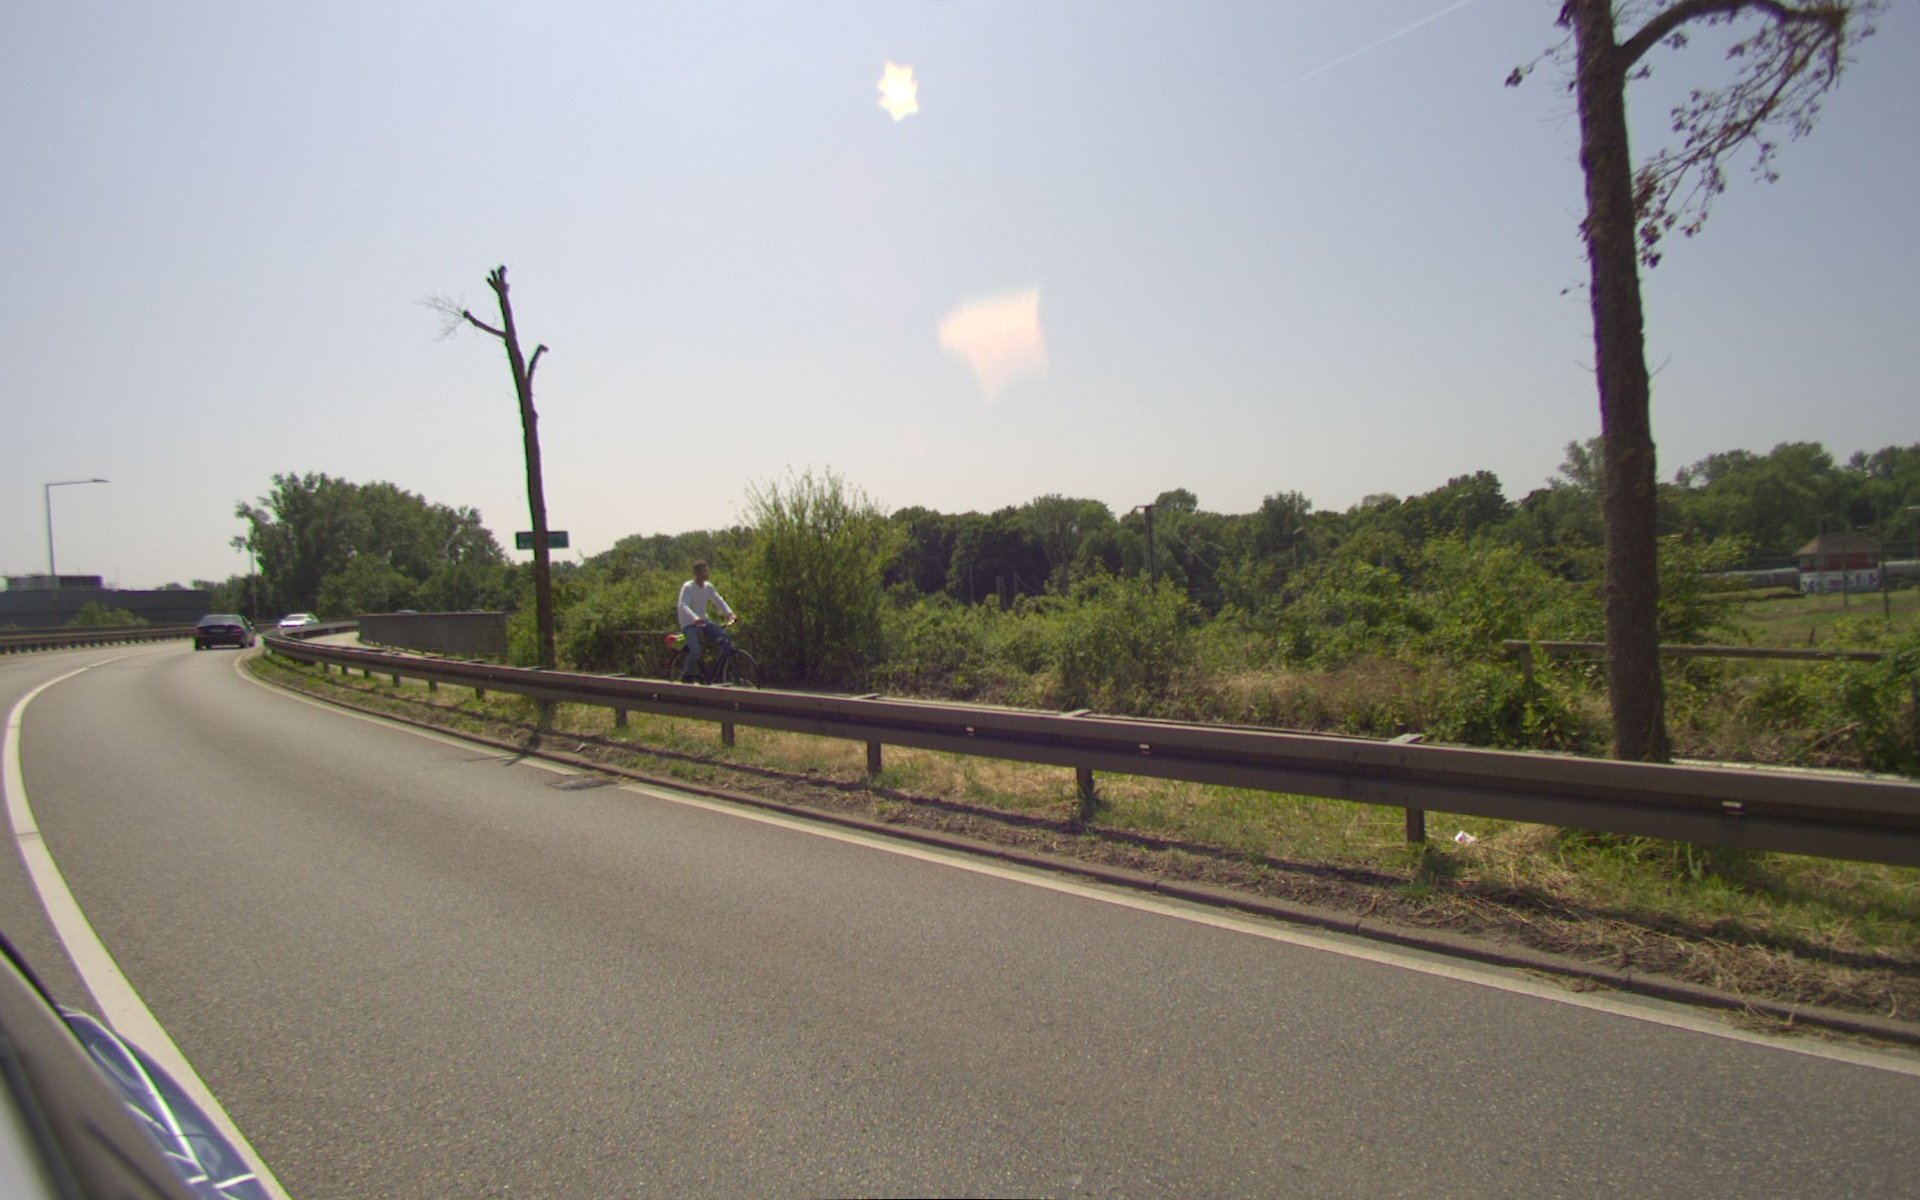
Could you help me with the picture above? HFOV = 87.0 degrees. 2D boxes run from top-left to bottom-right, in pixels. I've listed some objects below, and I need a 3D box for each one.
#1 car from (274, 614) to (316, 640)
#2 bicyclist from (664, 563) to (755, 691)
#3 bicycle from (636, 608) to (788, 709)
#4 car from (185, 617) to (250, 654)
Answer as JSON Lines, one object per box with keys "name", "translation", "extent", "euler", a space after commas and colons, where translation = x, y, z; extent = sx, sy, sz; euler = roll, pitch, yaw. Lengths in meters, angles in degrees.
{"name": "car", "translation": [-49.234, 1.962, 74.953], "extent": [1.769, 1.796, 4.307], "euler": [-1, 0, -22]}
{"name": "bicyclist", "translation": [-3.028, 0.318, 12.224], "extent": [0.823, 1.477, 0.722], "euler": [-1, -2, 40]}
{"name": "bicycle", "translation": [-3.021, 0.670, 12.206], "extent": [2.045, 1.125, 0.726], "euler": [-1, -2, 41]}
{"name": "car", "translation": [-30.974, 1.438, 42.338], "extent": [1.779, 1.427, 4.370], "euler": [-1, 0, -31]}
